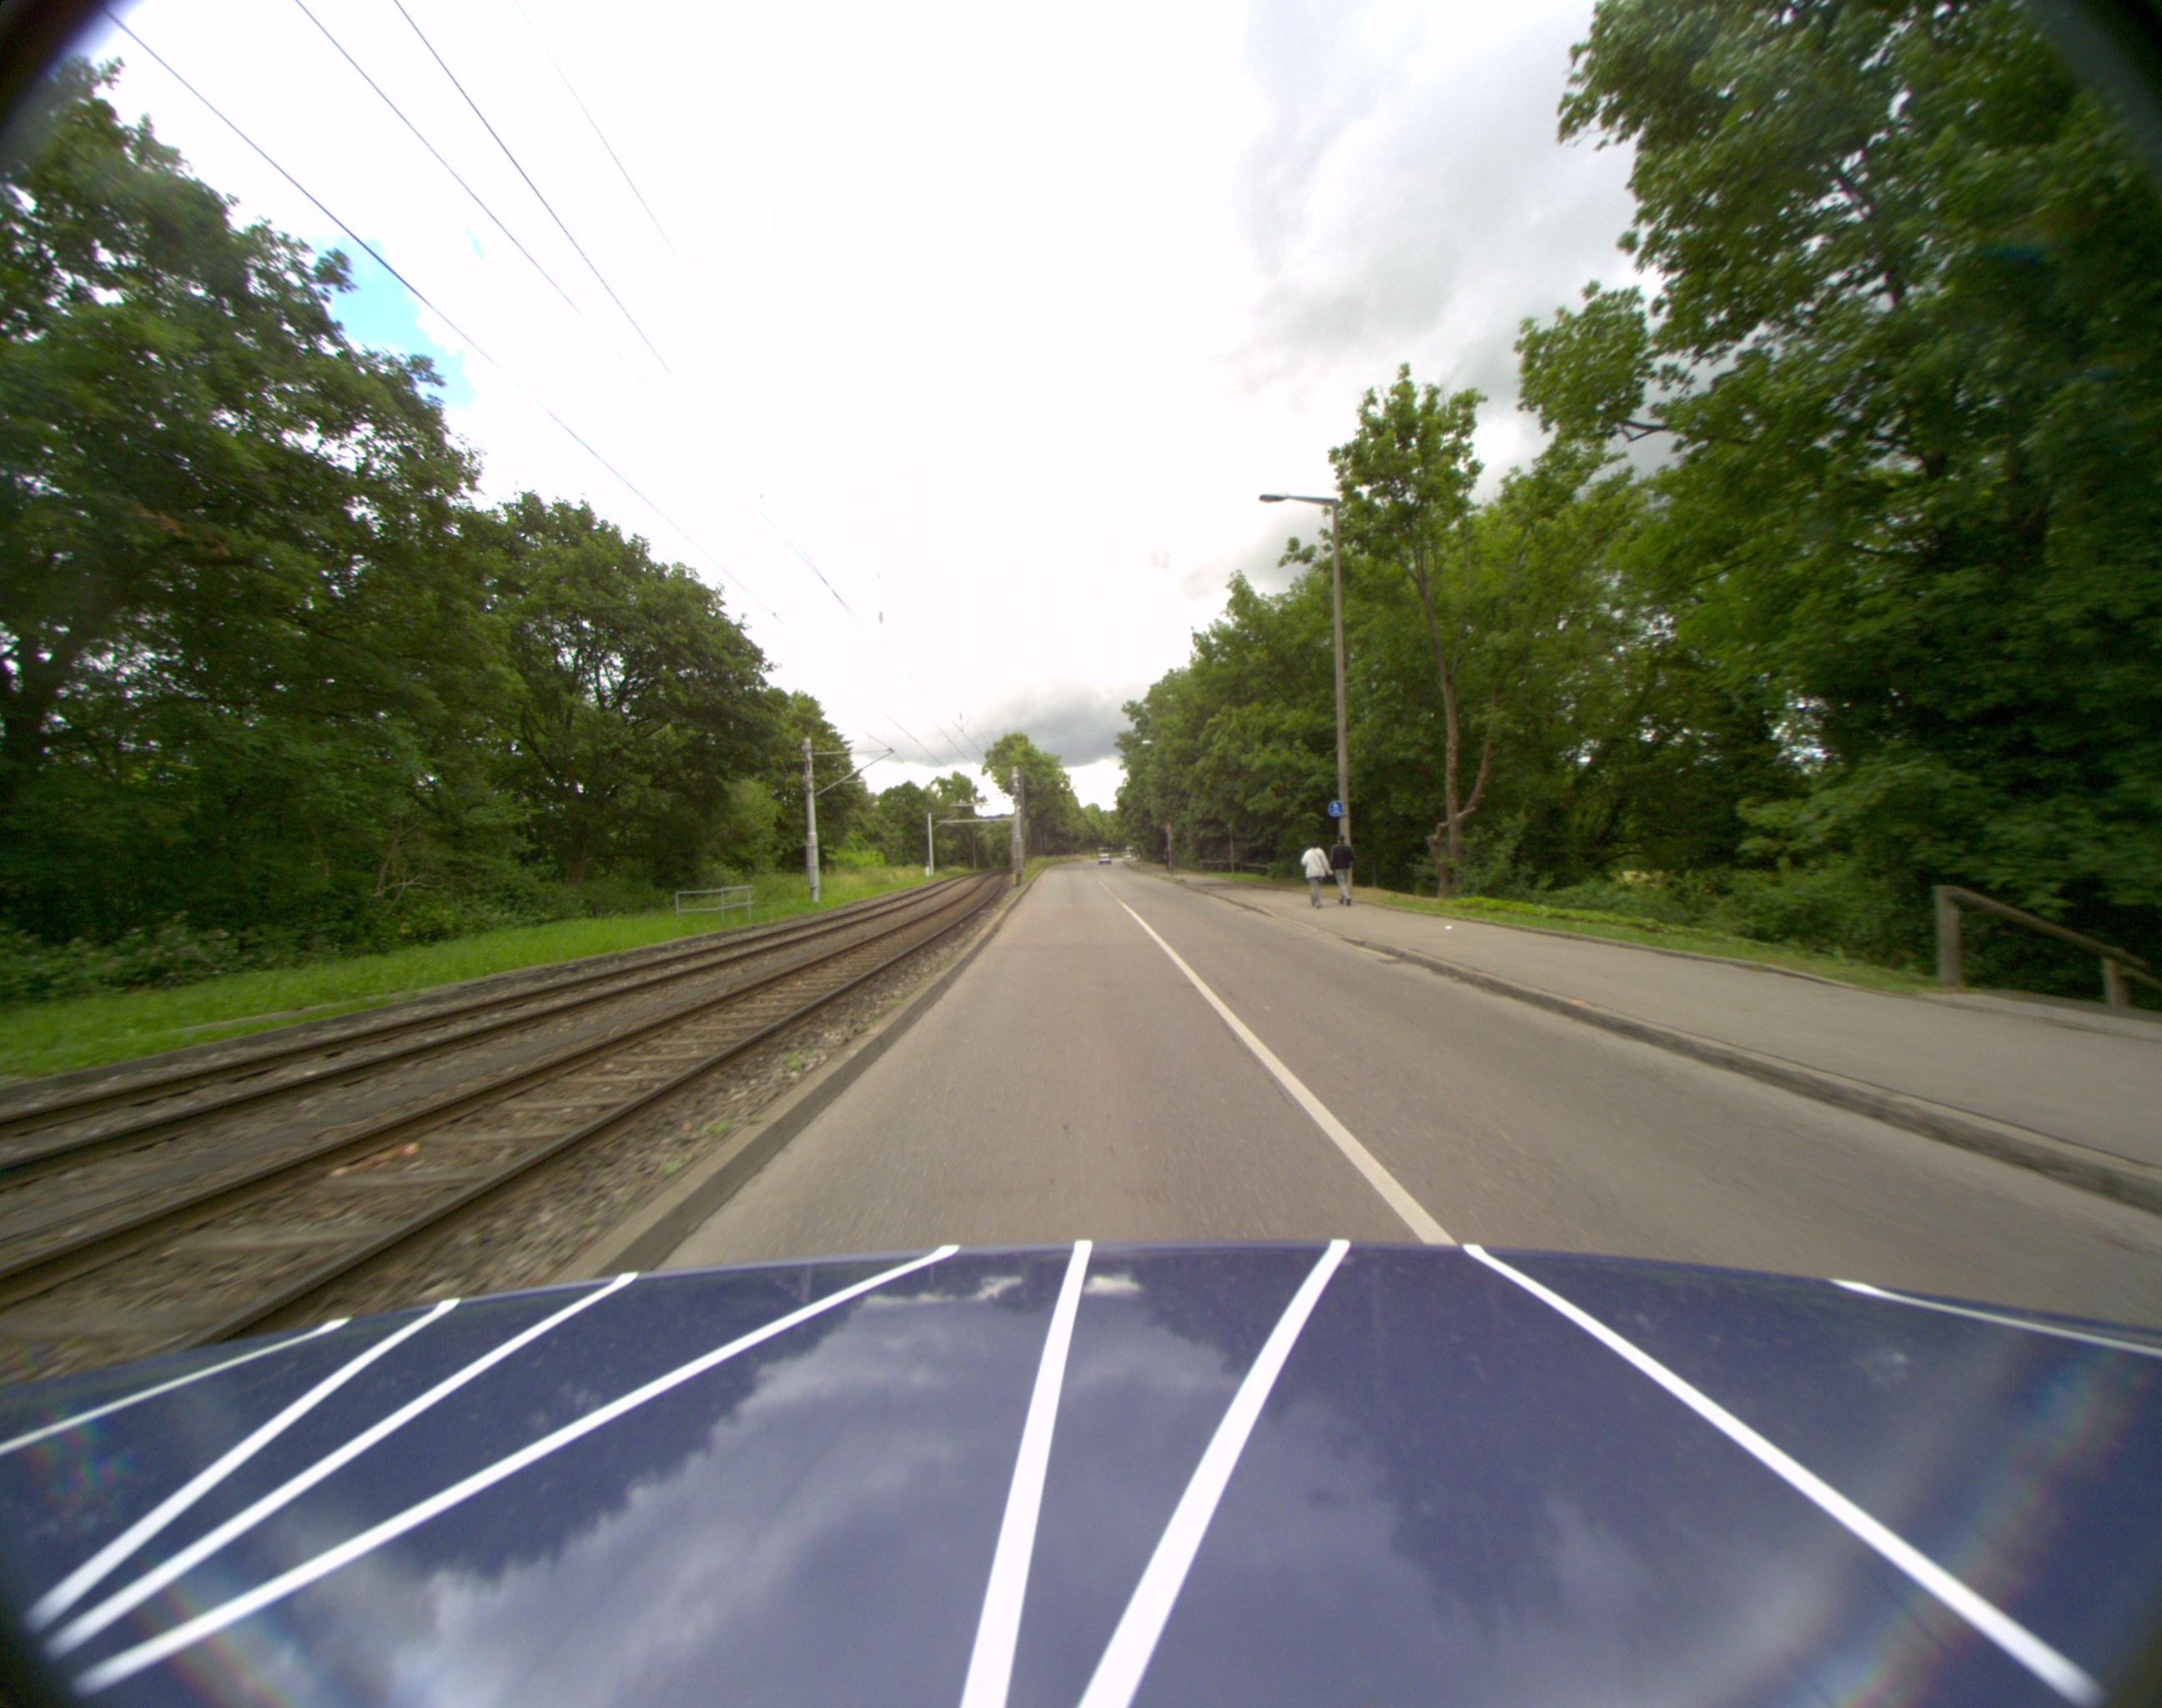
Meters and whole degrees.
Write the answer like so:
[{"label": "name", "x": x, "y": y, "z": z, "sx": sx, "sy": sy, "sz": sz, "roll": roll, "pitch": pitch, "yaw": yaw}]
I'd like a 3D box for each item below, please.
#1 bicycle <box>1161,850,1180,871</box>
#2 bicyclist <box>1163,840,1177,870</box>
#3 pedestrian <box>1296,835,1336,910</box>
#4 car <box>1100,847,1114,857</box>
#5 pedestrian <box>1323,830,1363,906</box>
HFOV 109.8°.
[{"label": "bicycle", "x": 5.832, "y": 0.415, "z": 49.568, "sx": 0.700, "sy": 1.324, "sz": 2.279, "roll": -3, "pitch": 1, "yaw": -4}, {"label": "bicyclist", "x": 5.810, "y": 0.064, "z": 49.773, "sx": 0.688, "sy": 1.937, "sz": 0.835, "roll": -3, "pitch": 1, "yaw": -4}, {"label": "pedestrian", "x": 5.796, "y": 0.450, "z": 18.797, "sx": 0.552, "sy": 1.755, "sz": 0.858, "roll": -6, "pitch": 0, "yaw": -1}, {"label": "car", "x": 3.795, "y": -0.262, "z": 112.067, "sx": 1.799, "sy": 1.483, "sz": 4.180, "roll": 0, "pitch": 0, "yaw": -1}, {"label": "pedestrian", "x": 6.487, "y": 0.341, "z": 18.833, "sx": 0.588, "sy": 1.793, "sz": 0.822, "roll": -3, "pitch": 0, "yaw": -1}]
